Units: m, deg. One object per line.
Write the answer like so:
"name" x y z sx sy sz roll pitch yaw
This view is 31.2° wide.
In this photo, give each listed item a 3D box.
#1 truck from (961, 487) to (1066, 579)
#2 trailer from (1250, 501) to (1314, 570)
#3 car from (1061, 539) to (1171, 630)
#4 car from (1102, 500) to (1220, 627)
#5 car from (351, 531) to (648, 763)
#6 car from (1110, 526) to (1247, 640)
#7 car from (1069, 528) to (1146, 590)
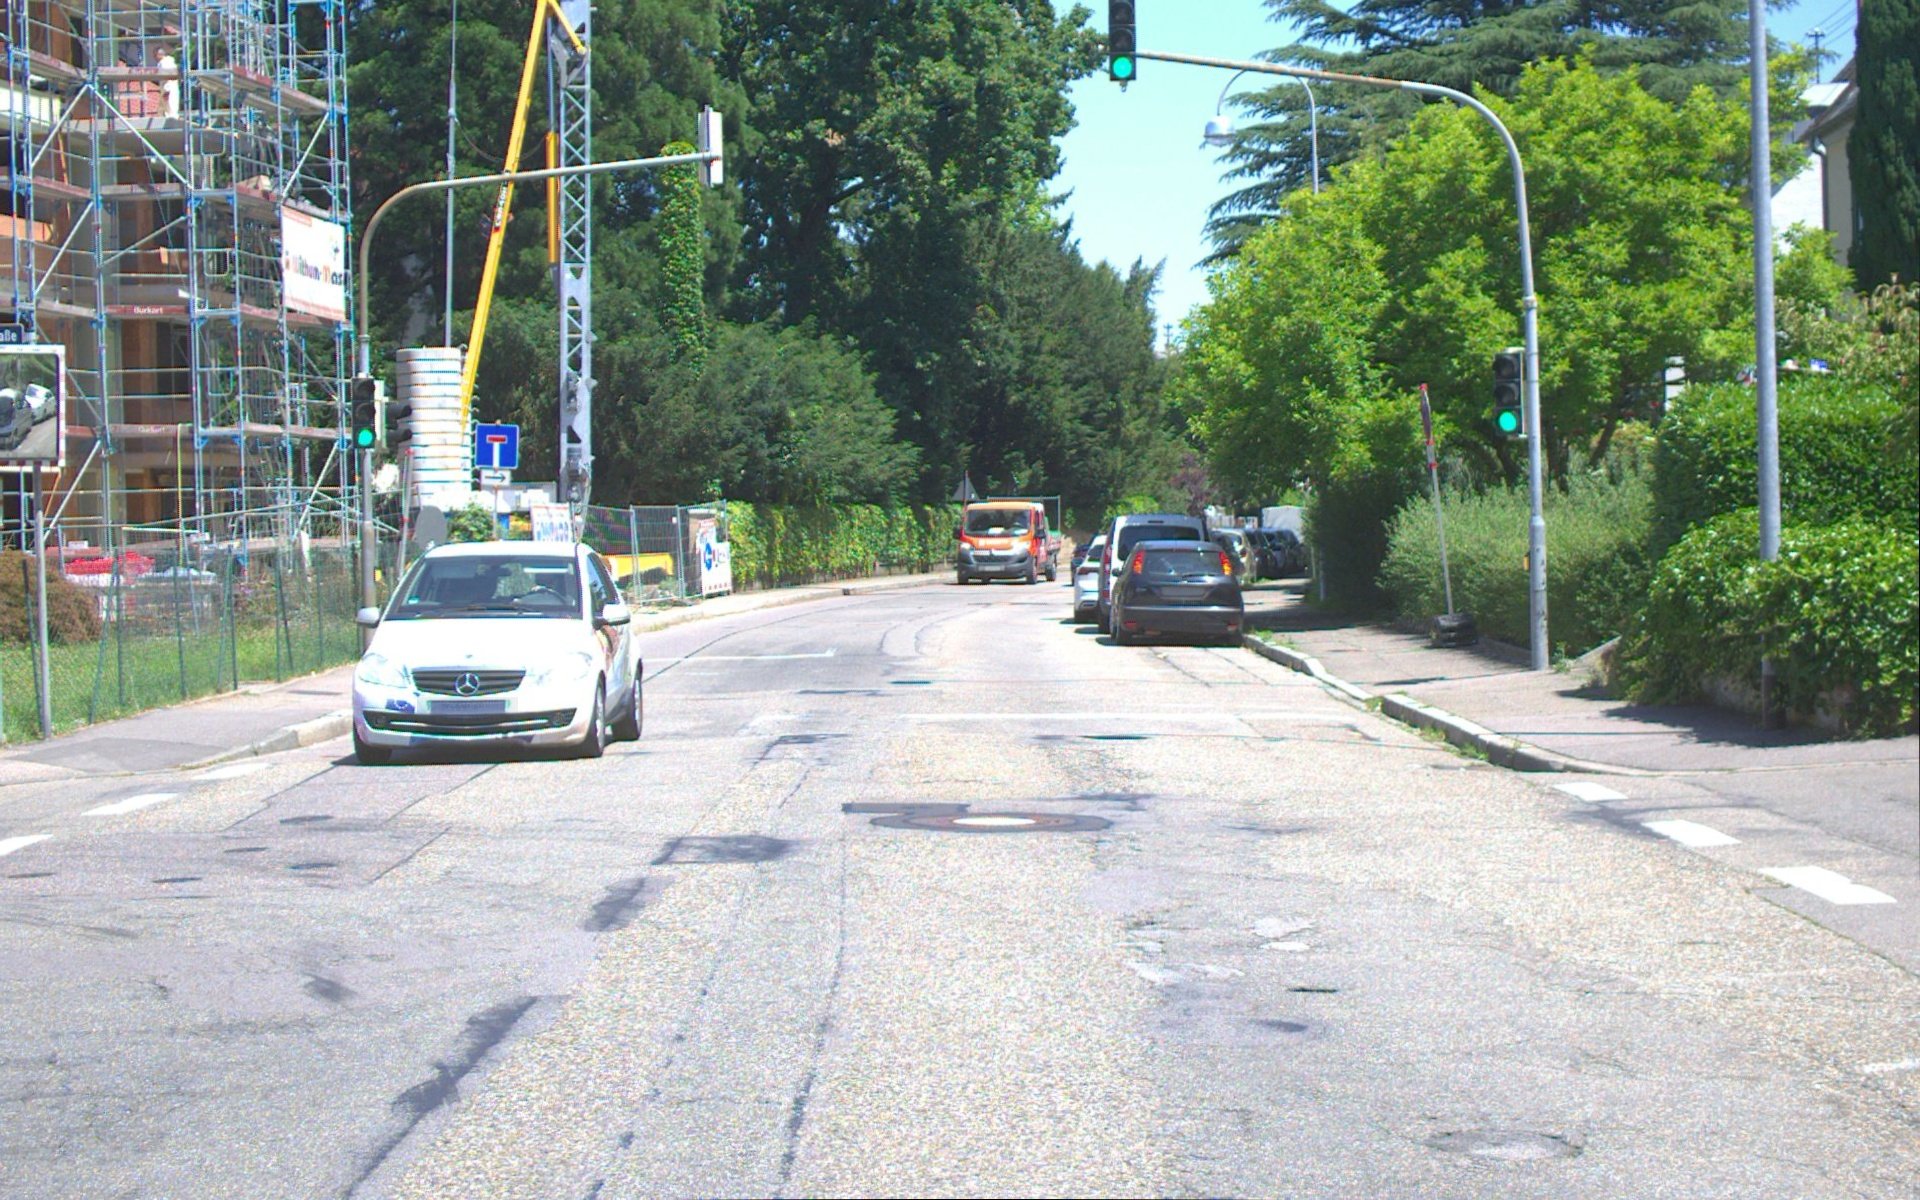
"truck" 1.484 -1.803 91.773 2.128 2.331 6.433 -1 1 7
"trailer" 10.006 -2.022 106.523 1.680 2.060 3.707 1 2 9
"car" 2.645 -0.293 57.538 1.662 1.430 4.128 1 1 5
"car" 3.026 -0.574 52.197 1.662 1.797 4.203 2 1 3
"car" -3.389 0.295 25.915 1.652 1.556 3.885 -2 1 0
"car" 2.982 -0.271 47.520 1.629 1.458 4.016 2 1 1
"car" 3.799 -1.067 87.963 1.794 1.505 4.000 1 1 5
